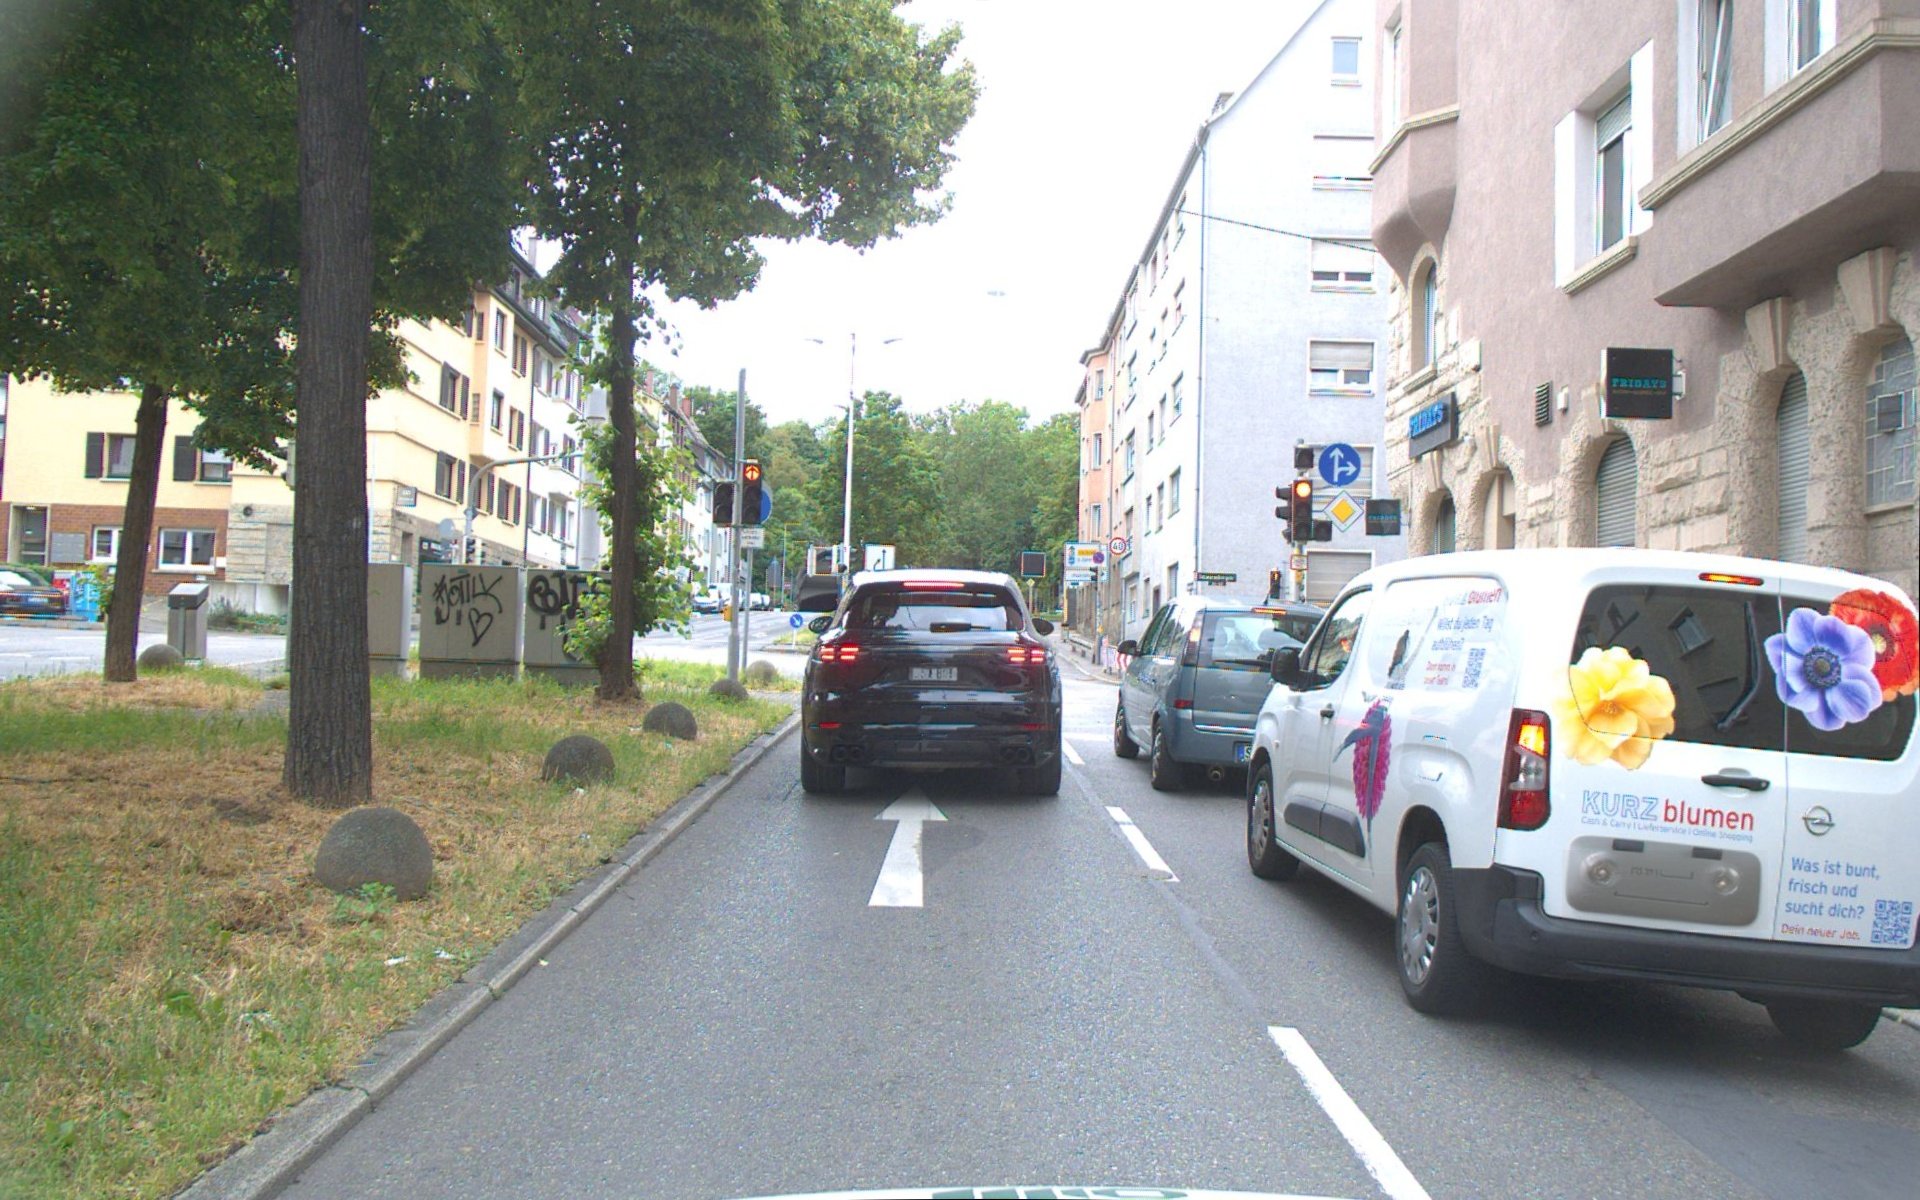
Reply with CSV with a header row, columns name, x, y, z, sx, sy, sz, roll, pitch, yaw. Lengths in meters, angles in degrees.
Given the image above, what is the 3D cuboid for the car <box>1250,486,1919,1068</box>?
name,x,y,z,sx,sy,sz,roll,pitch,yaw
car,2.643,0.645,8.041,1.811,1.857,5.022,3,-1,4

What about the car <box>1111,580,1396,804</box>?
name,x,y,z,sx,sy,sz,roll,pitch,yaw
car,2.441,0.705,14.633,1.717,1.621,3.629,4,0,-1

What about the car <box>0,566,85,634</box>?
name,x,y,z,sx,sy,sz,roll,pitch,yaw
car,-25.445,-0.001,44.294,3.916,1.694,1.877,0,-2,33

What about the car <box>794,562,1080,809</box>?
name,x,y,z,sx,sy,sz,roll,pitch,yaw
car,-0.143,0.569,13.455,1.953,1.681,4.000,1,1,0

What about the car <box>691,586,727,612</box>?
name,x,y,z,sx,sy,sz,roll,pitch,yaw
car,-15.910,-0.091,104.939,1.758,1.536,3.999,2,0,-2

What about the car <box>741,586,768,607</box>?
name,x,y,z,sx,sy,sz,roll,pitch,yaw
car,-16.306,-0.283,131.340,1.758,1.536,3.999,2,0,-2
